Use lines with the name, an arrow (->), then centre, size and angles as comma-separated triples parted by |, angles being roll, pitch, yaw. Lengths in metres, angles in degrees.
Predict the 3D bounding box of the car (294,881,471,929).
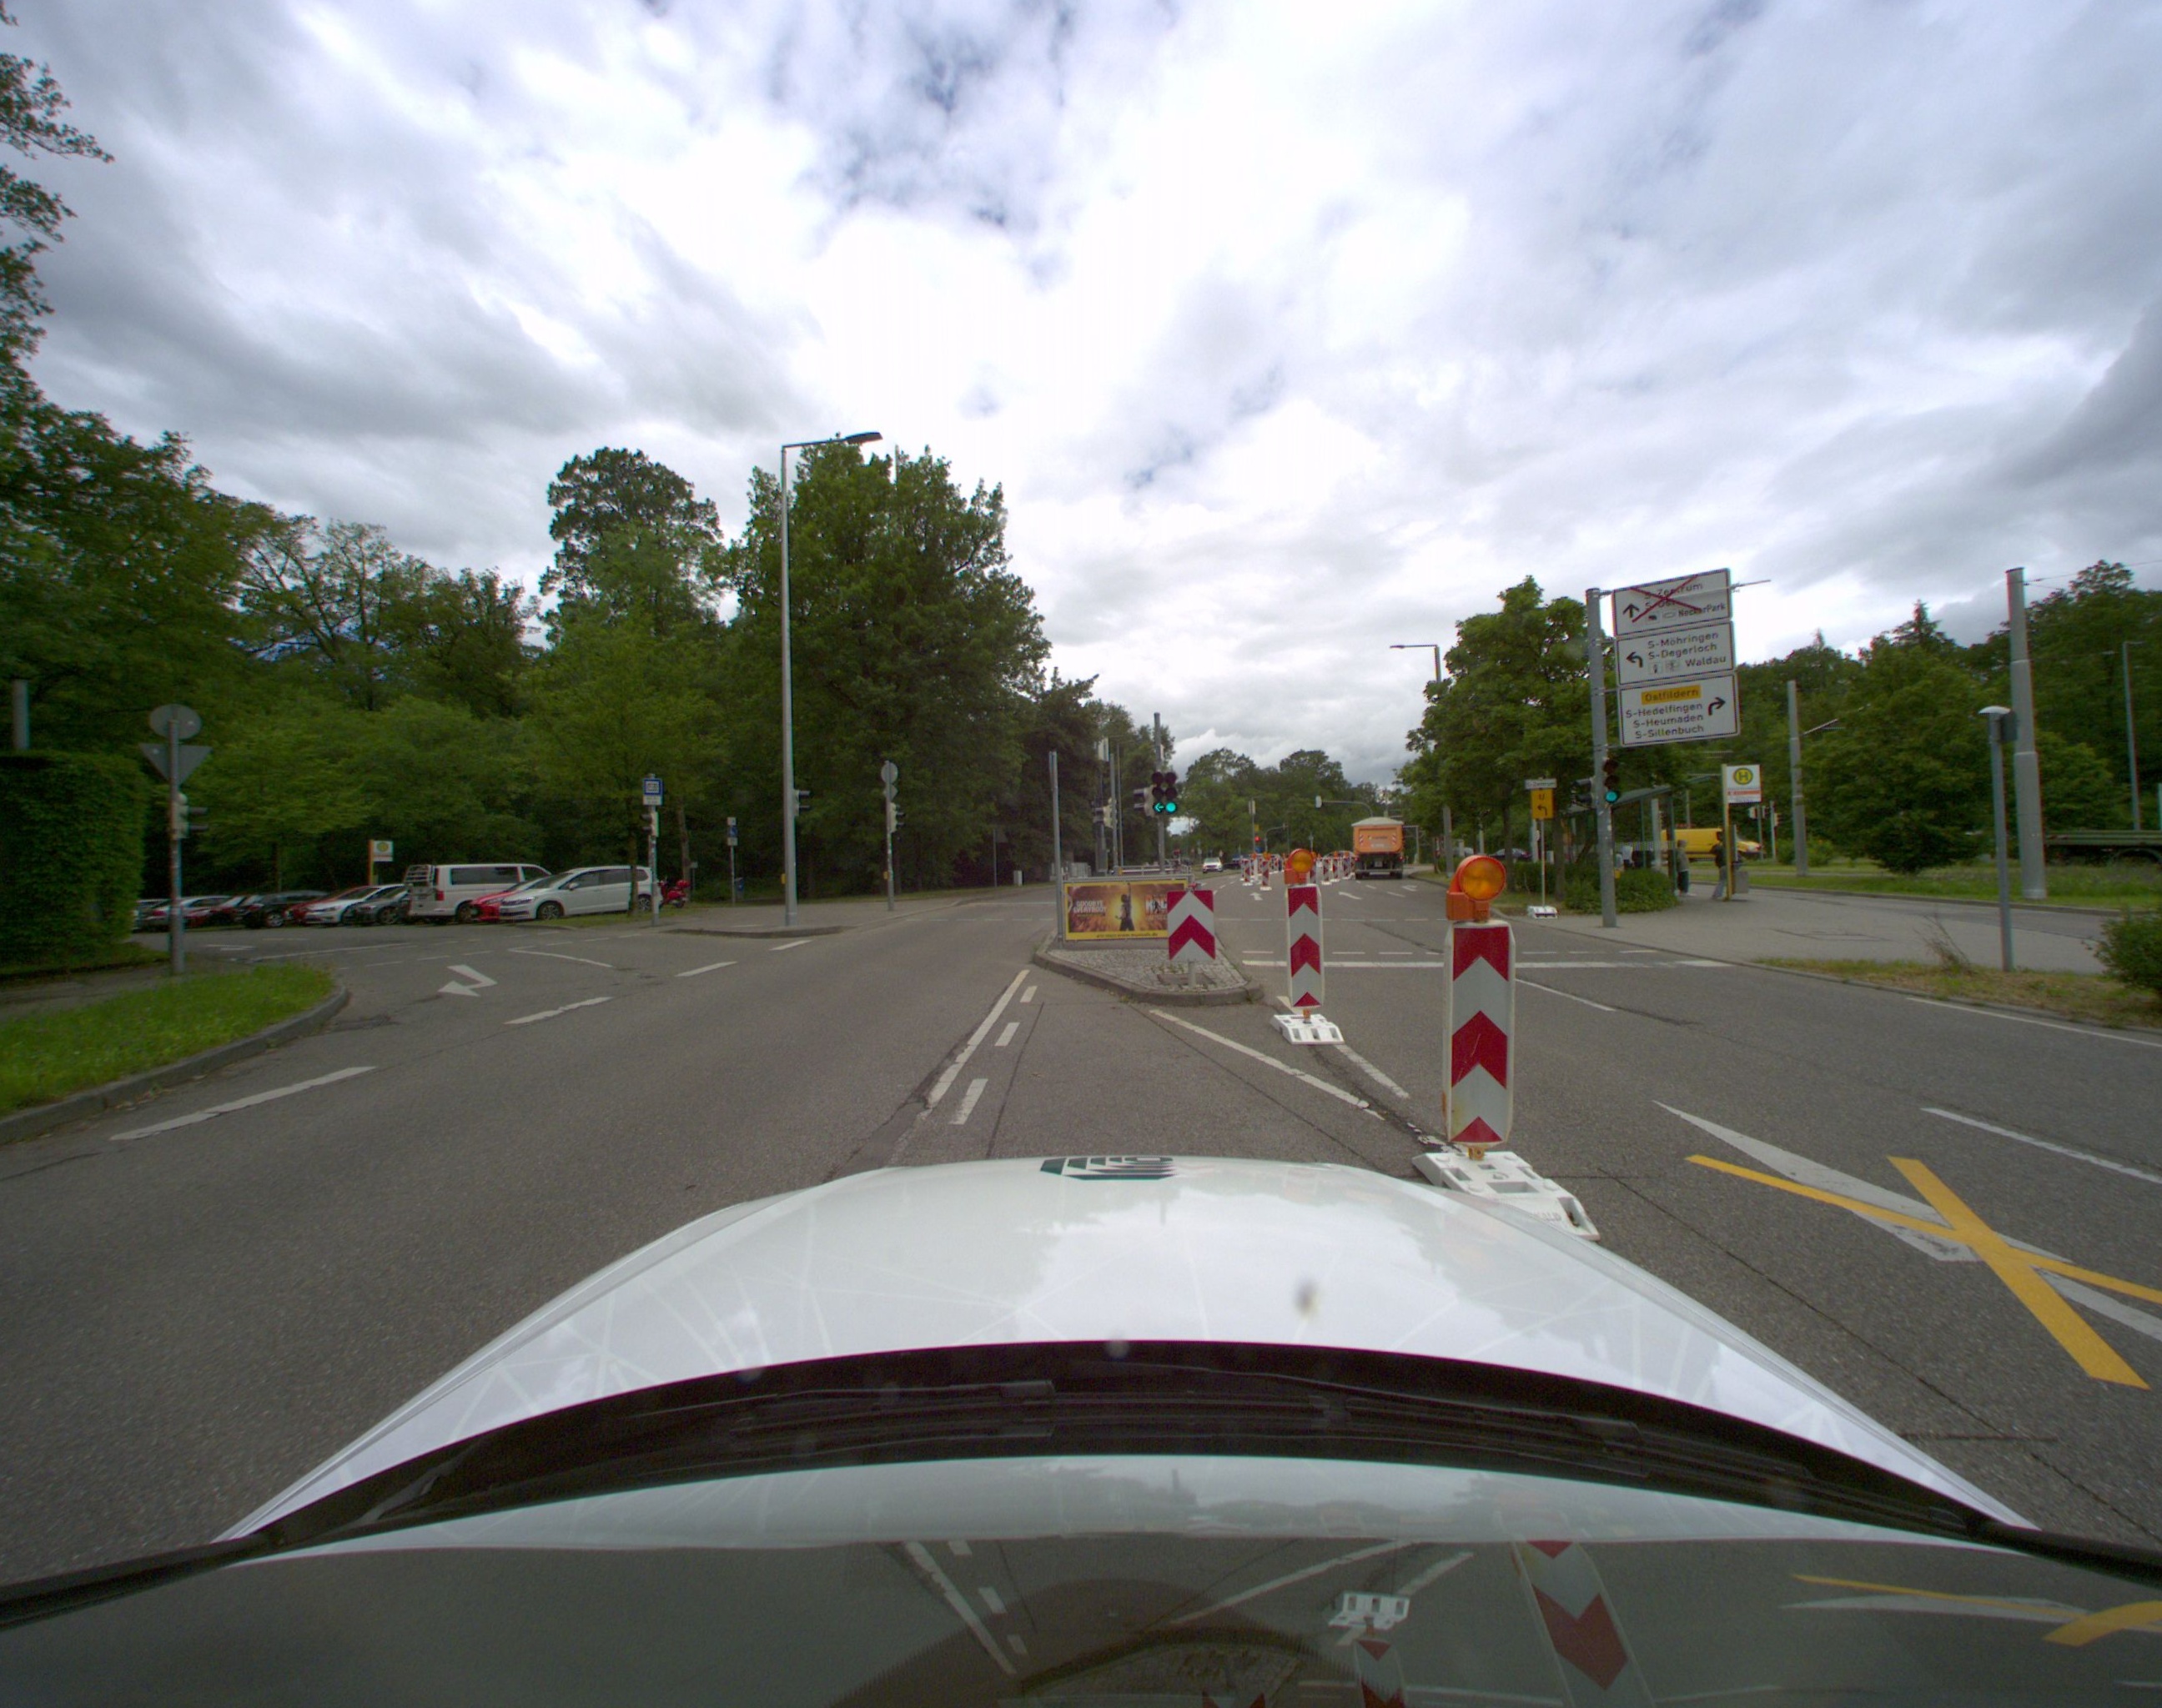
car -> -26.730, 1.918, 31.387 | 1.829, 1.476, 4.816 | -3, 0, 27

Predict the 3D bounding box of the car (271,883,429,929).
car -> -29.107, 2.028, 32.594 | 1.896, 1.480, 4.267 | -4, -1, 24

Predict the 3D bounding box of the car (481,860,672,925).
car -> -15.742, 1.165, 25.661 | 2.137, 1.693, 4.564 | -4, -1, 33

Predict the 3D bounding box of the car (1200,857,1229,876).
car -> 13.359, 1.250, 81.122 | 1.977, 1.750, 4.601 | -1, -1, 20

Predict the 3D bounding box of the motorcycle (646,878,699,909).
motorcycle -> -16.363, 1.598, 32.619 | 1.988, 1.160, 0.680 | -2, -1, 21

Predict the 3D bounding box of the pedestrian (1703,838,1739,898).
pedestrian -> 16.303, 0.349, 20.754 | 0.520, 1.517, 0.479 | 0, -1, -2

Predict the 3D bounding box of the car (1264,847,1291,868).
car -> 17.615, 0.329, 73.004 | 1.780, 1.738, 3.723 | -1, -1, 23

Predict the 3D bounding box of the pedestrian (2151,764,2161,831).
pedestrian -> 49.763, -2.592, 36.928 | 1.024, 3.044, 1.109 | 0, -1, -13

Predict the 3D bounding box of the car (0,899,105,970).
car -> -23.771, 1.788, 17.009 | 1.700, 1.379, 4.024 | -3, 0, 28

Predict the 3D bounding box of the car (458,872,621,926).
car -> -17.816, 1.433, 26.952 | 1.921, 1.555, 4.035 | -3, -1, 34

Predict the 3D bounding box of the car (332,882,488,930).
car -> -24.721, 1.881, 30.180 | 1.854, 1.483, 4.023 | -5, -3, 26

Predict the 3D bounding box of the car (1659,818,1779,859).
car -> 43.055, -0.968, 55.140 | 2.006, 2.494, 6.088 | 0, -1, -30

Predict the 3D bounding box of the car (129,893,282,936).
car -> -38.653, 2.650, 36.097 | 1.843, 1.461, 4.162 | -4, 0, 22

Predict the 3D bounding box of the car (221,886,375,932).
car -> -31.665, 2.196, 33.070 | 1.898, 1.483, 4.023 | -4, 0, 24

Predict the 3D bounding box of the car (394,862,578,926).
car -> -20.360, 1.323, 28.144 | 2.057, 2.021, 4.691 | -2, -2, 27

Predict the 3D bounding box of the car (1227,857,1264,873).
car -> 19.743, 1.344, 97.922 | 2.010, 1.882, 3.952 | 0, -1, -41

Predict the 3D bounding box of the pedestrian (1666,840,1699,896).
pedestrian -> 16.500, 0.373, 22.338 | 0.520, 1.517, 0.479 | 0, -1, -2

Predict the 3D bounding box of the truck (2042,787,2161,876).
truck -> 30.248, -0.623, 21.084 | 2.407, 2.352, 6.499 | 0, -1, -20

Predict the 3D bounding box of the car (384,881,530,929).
car -> -22.515, 1.791, 29.532 | 1.823, 1.555, 3.756 | -1, -1, 26

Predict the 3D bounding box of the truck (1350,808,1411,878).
truck -> 17.078, -0.586, 46.076 | 2.834, 3.514, 8.293 | -2, 0, 22

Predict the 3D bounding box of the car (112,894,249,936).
car -> -40.813, 2.744, 37.034 | 1.731, 1.510, 3.733 | -4, -1, 20

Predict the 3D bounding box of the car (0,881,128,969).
car -> -26.063, 1.764, 18.651 | 1.953, 1.915, 5.134 | -3, 0, 28

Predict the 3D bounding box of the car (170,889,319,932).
car -> -36.131, 2.404, 35.324 | 1.918, 1.449, 4.020 | -4, 0, 20

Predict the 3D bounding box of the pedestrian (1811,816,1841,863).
pedestrian -> 36.545, -0.694, 39.977 | 0.616, 2.295, 0.858 | 0, -1, -13
